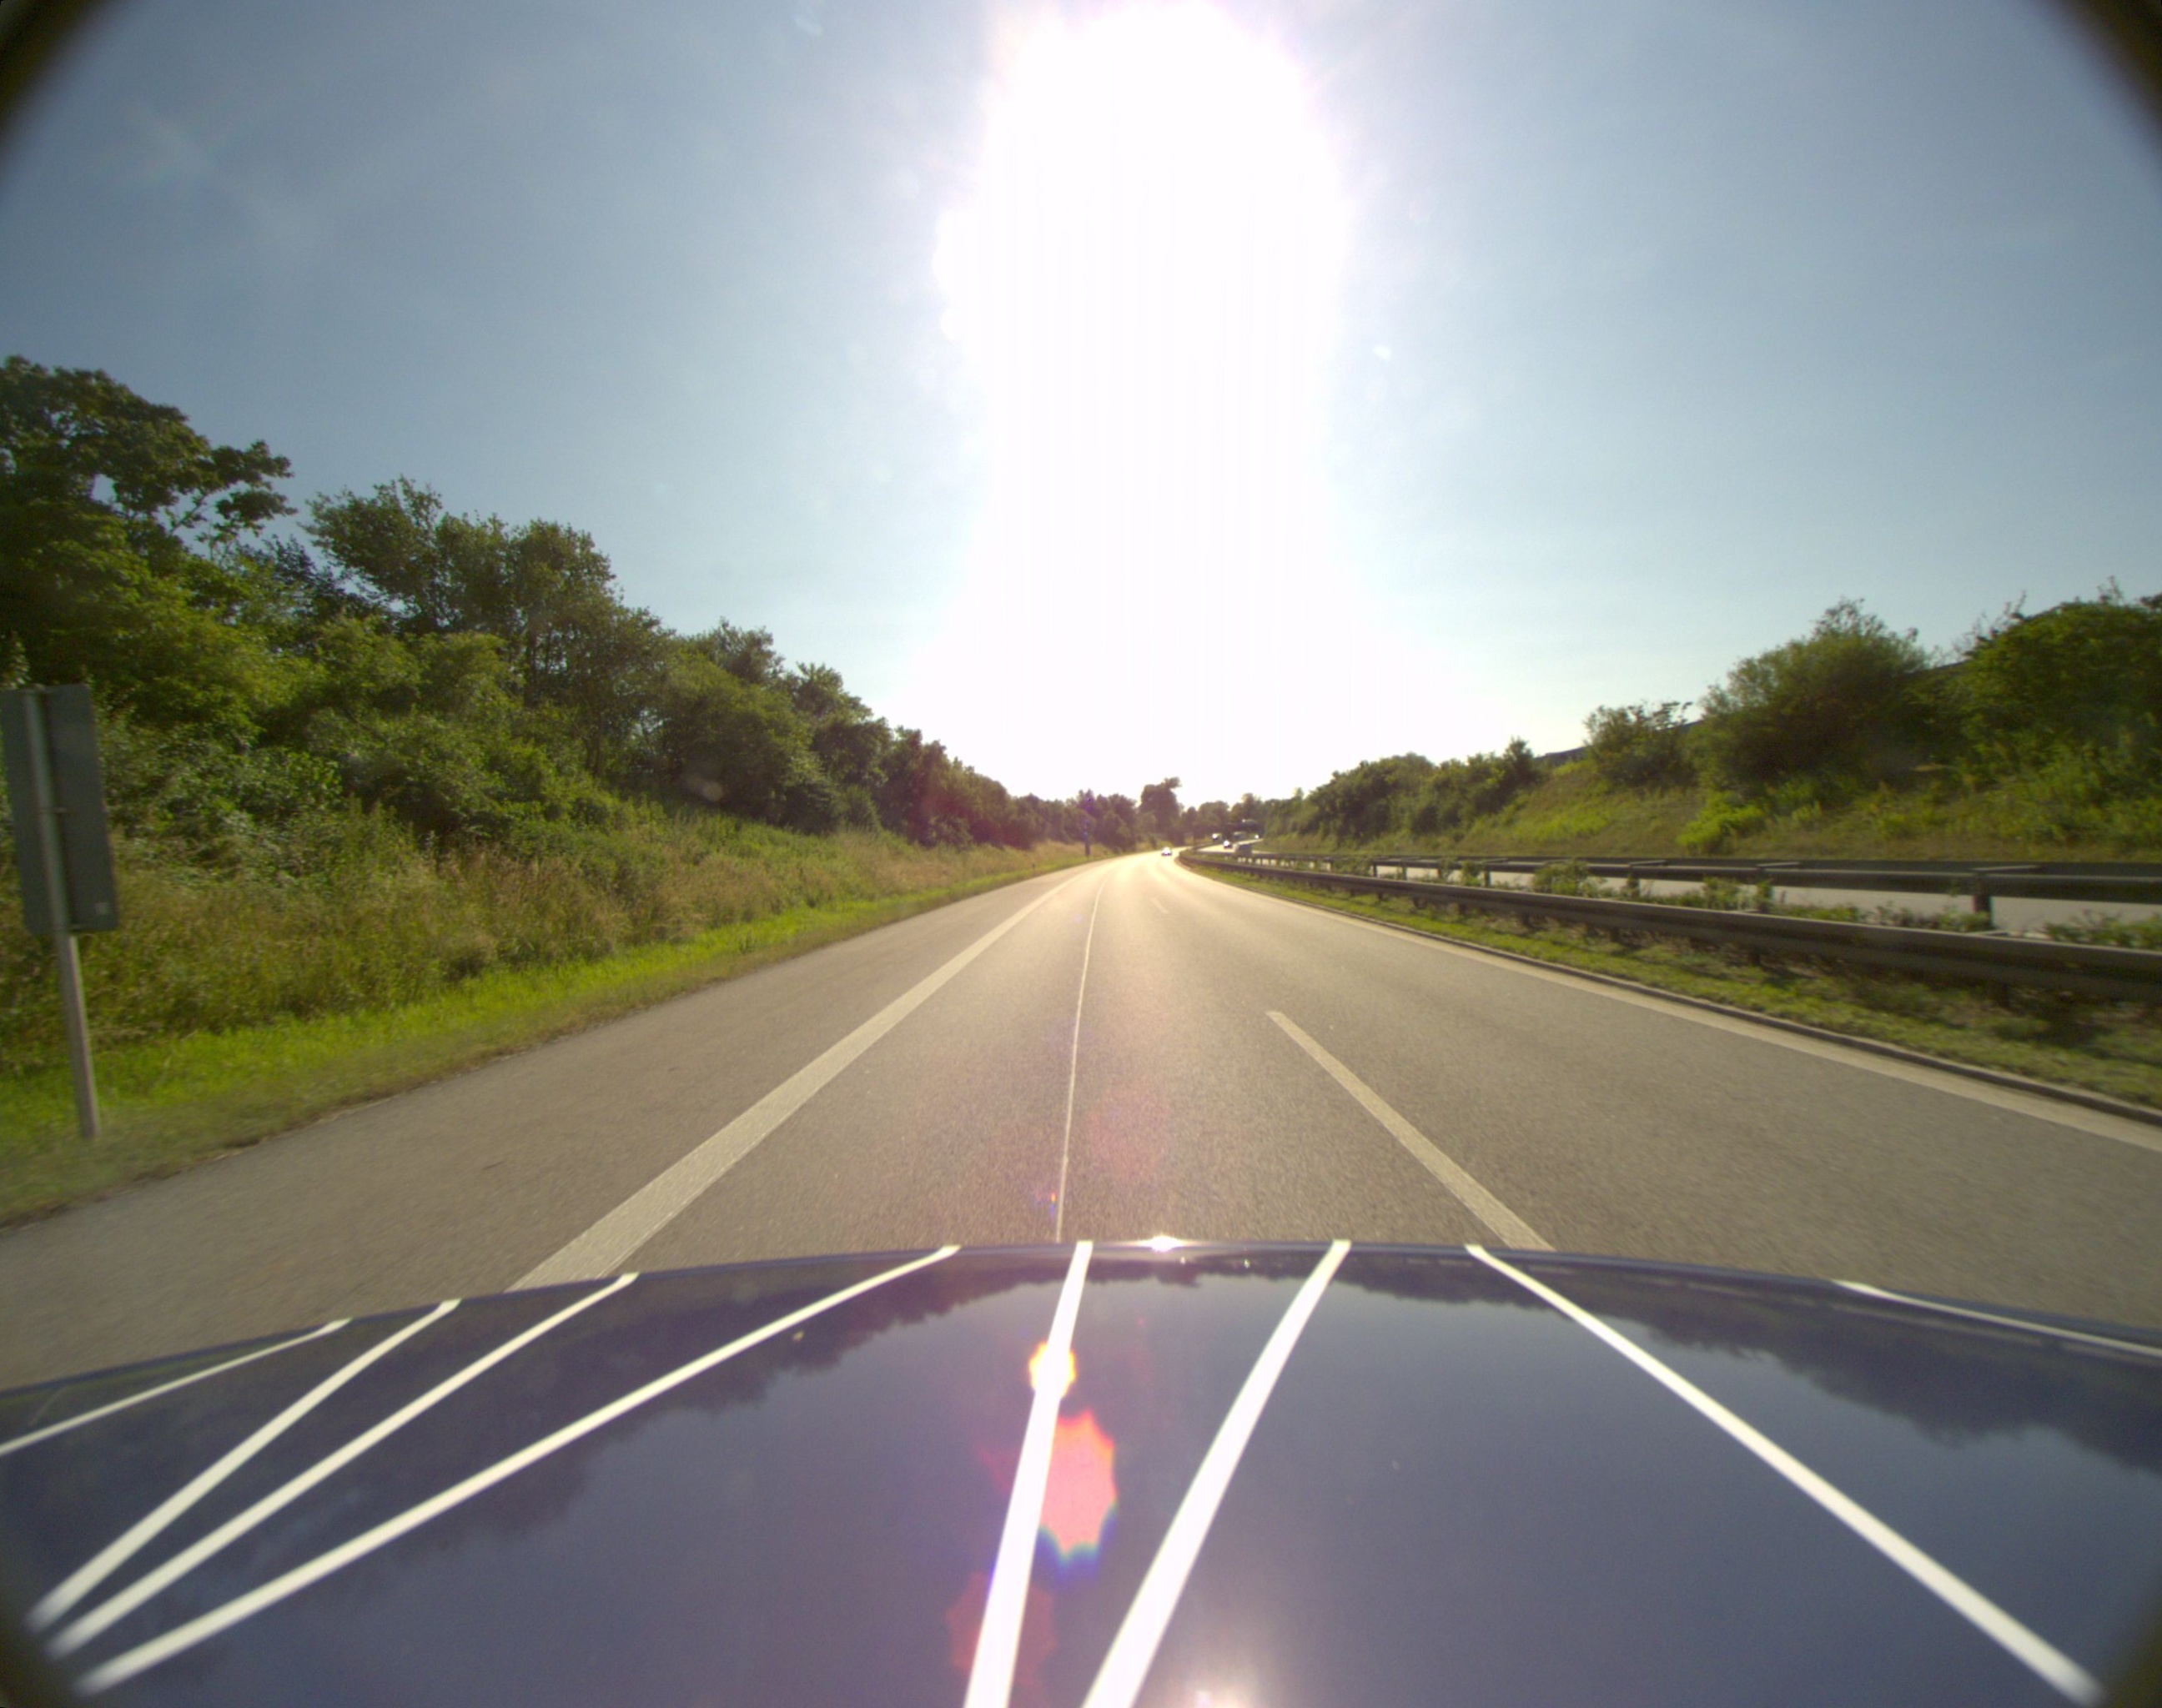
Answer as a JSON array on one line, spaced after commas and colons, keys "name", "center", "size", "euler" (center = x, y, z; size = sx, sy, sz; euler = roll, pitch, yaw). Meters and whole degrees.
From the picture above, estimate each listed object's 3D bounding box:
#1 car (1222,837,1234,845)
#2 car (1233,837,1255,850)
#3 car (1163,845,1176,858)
[{"name": "car", "center": [29.940, -2.751, 154.930], "size": [1.971, 1.555, 5.174], "euler": [-1, 1, 5]}, {"name": "car", "center": [19.641, -1.277, 91.917], "size": [1.904, 1.414, 4.399], "euler": [-2, 0, 3]}, {"name": "car", "center": [15.494, -0.411, 133.145], "size": [1.998, 2.002, 4.601], "euler": [-5, 1, 6]}]
